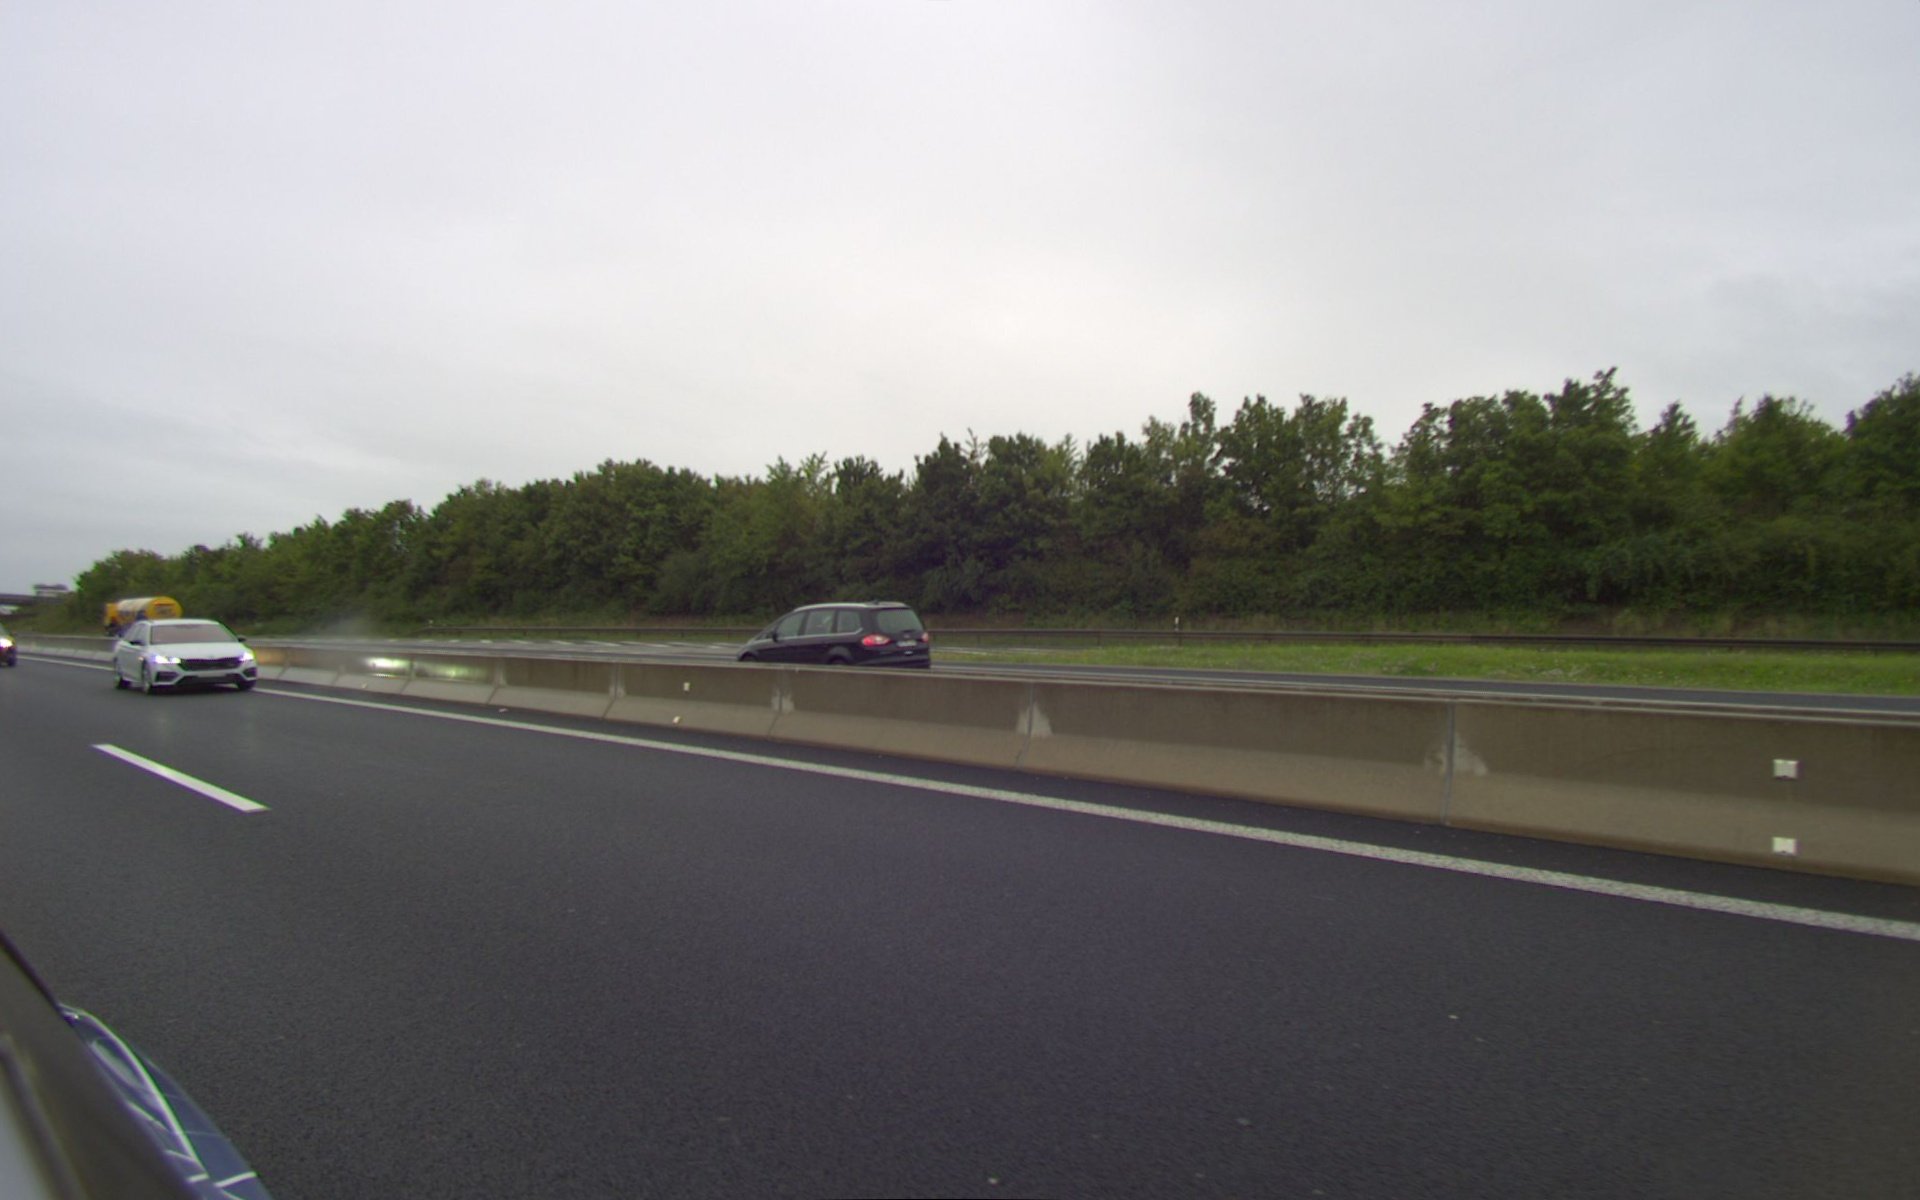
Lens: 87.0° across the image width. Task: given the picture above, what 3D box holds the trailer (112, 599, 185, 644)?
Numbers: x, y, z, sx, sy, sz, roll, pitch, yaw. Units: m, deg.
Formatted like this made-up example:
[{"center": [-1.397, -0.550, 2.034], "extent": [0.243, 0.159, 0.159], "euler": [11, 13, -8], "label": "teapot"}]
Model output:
[{"center": [-65.610, 1.701, 81.727], "extent": [11.443, 3.424, 2.732], "euler": [-1, 0, 42], "label": "trailer"}]

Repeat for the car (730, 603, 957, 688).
[{"center": [-2.444, 0.874, 20.439], "extent": [4.635, 1.518, 1.962], "euler": [-2, -2, 41], "label": "car"}]

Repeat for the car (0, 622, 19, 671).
[{"center": [-31.874, 1.487, 32.604], "extent": [4.112, 1.518, 1.881], "euler": [-2, -2, 41], "label": "car"}]

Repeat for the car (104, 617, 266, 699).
[{"center": [-16.053, 1.133, 20.888], "extent": [4.112, 1.518, 1.881], "euler": [-2, -2, 41], "label": "car"}]

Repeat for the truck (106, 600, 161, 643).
[{"center": [-69.730, 1.780, 85.333], "extent": [5.843, 3.424, 2.733], "euler": [-1, 0, 42], "label": "truck"}]
